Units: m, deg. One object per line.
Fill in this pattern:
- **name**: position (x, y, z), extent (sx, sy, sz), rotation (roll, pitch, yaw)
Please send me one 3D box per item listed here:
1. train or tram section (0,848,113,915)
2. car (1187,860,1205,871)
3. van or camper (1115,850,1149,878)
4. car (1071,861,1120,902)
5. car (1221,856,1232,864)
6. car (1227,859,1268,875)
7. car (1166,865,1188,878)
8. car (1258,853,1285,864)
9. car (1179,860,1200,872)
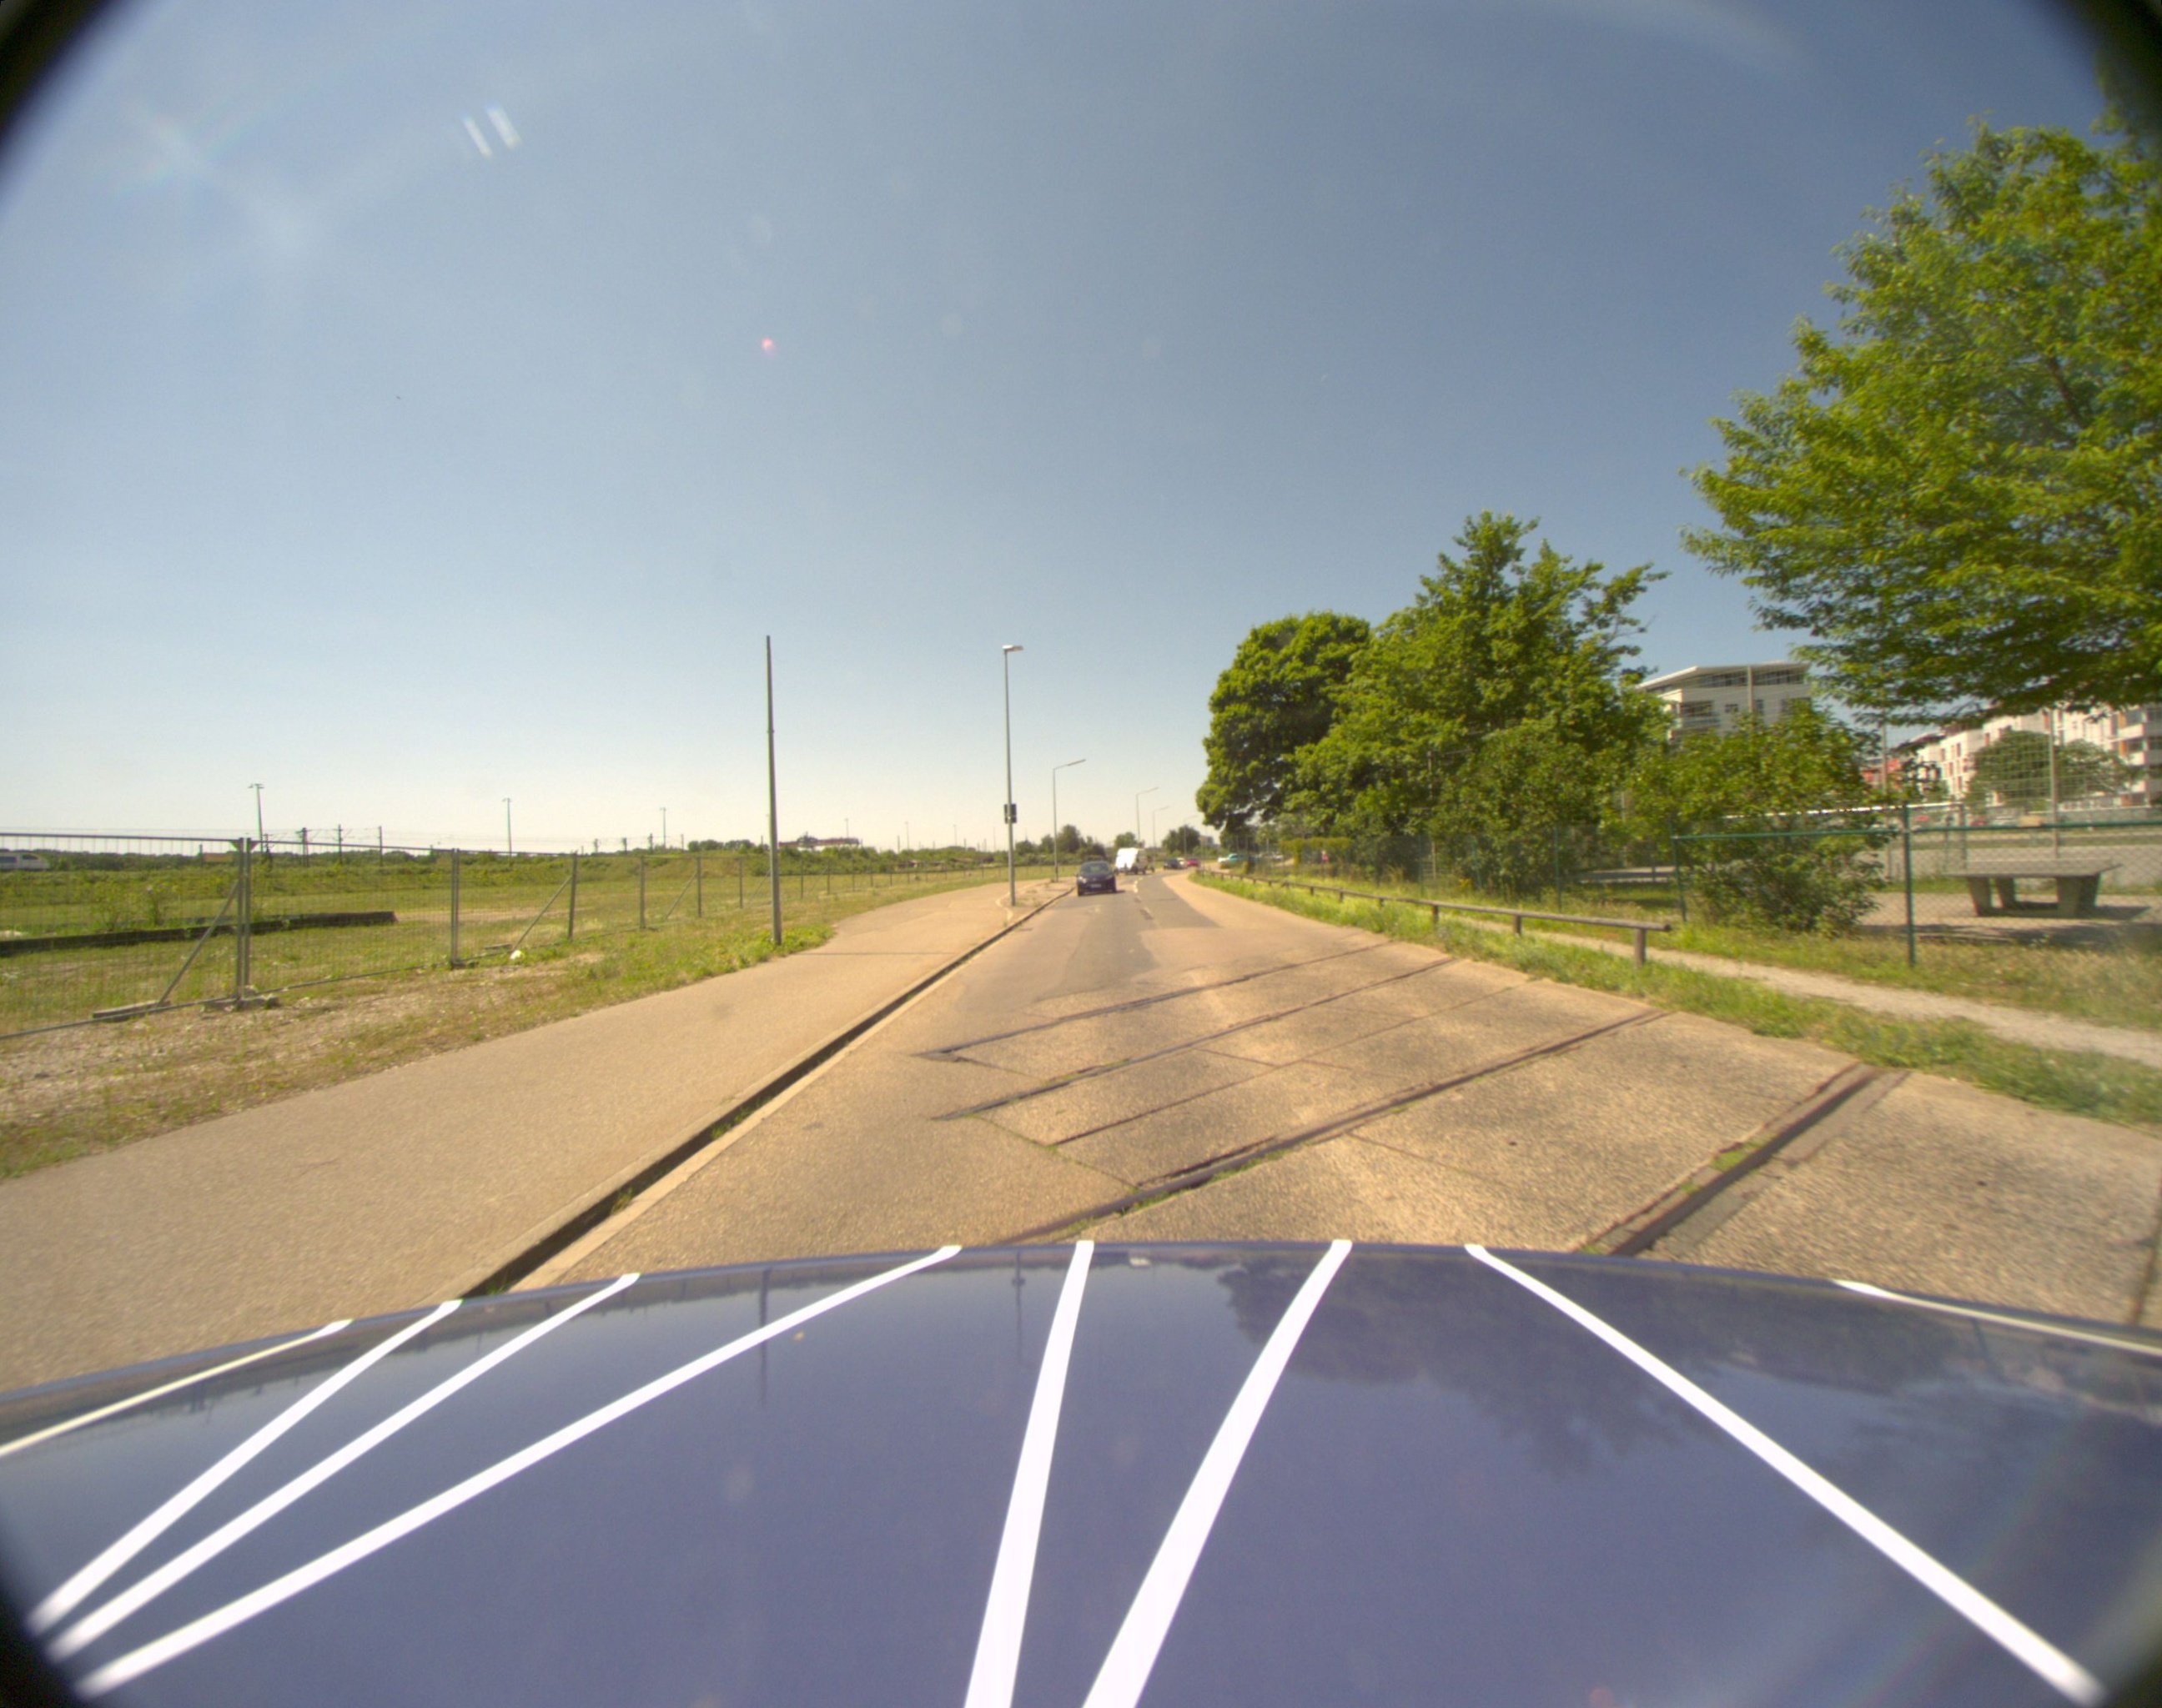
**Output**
- **train or tram section**: position (-165.383, 4.224, 108.917), extent (9.581, 9.866, 31.256), rotation (-2, -1, 17)
- **car**: position (16.888, 1.656, 111.522), extent (1.651, 1.458, 3.872), rotation (-2, -1, 22)
- **van or camper**: position (4.991, 0.923, 73.025), extent (2.139, 2.557, 5.873), rotation (-2, -1, 14)
- **car**: position (0.692, 1.116, 32.371), extent (1.653, 1.457, 4.161), rotation (-7, -1, 5)
- **car**: position (29.530, 1.200, 154.158), extent (1.652, 1.458, 3.871), rotation (-2, -1, 18)
- **car**: position (17.951, 1.380, 81.752), extent (3.991, 1.543, 1.894), rotation (-2, 0, 21)
- **car**: position (11.999, 2.151, 95.121), extent (1.651, 1.458, 3.872), rotation (-2, -1, 23)
- **car**: position (31.263, 0.756, 124.797), extent (3.991, 1.543, 1.626), rotation (-2, 0, 21)
- **car**: position (14.352, 1.531, 100.280), extent (1.651, 1.458, 3.872), rotation (-2, 0, 25)
